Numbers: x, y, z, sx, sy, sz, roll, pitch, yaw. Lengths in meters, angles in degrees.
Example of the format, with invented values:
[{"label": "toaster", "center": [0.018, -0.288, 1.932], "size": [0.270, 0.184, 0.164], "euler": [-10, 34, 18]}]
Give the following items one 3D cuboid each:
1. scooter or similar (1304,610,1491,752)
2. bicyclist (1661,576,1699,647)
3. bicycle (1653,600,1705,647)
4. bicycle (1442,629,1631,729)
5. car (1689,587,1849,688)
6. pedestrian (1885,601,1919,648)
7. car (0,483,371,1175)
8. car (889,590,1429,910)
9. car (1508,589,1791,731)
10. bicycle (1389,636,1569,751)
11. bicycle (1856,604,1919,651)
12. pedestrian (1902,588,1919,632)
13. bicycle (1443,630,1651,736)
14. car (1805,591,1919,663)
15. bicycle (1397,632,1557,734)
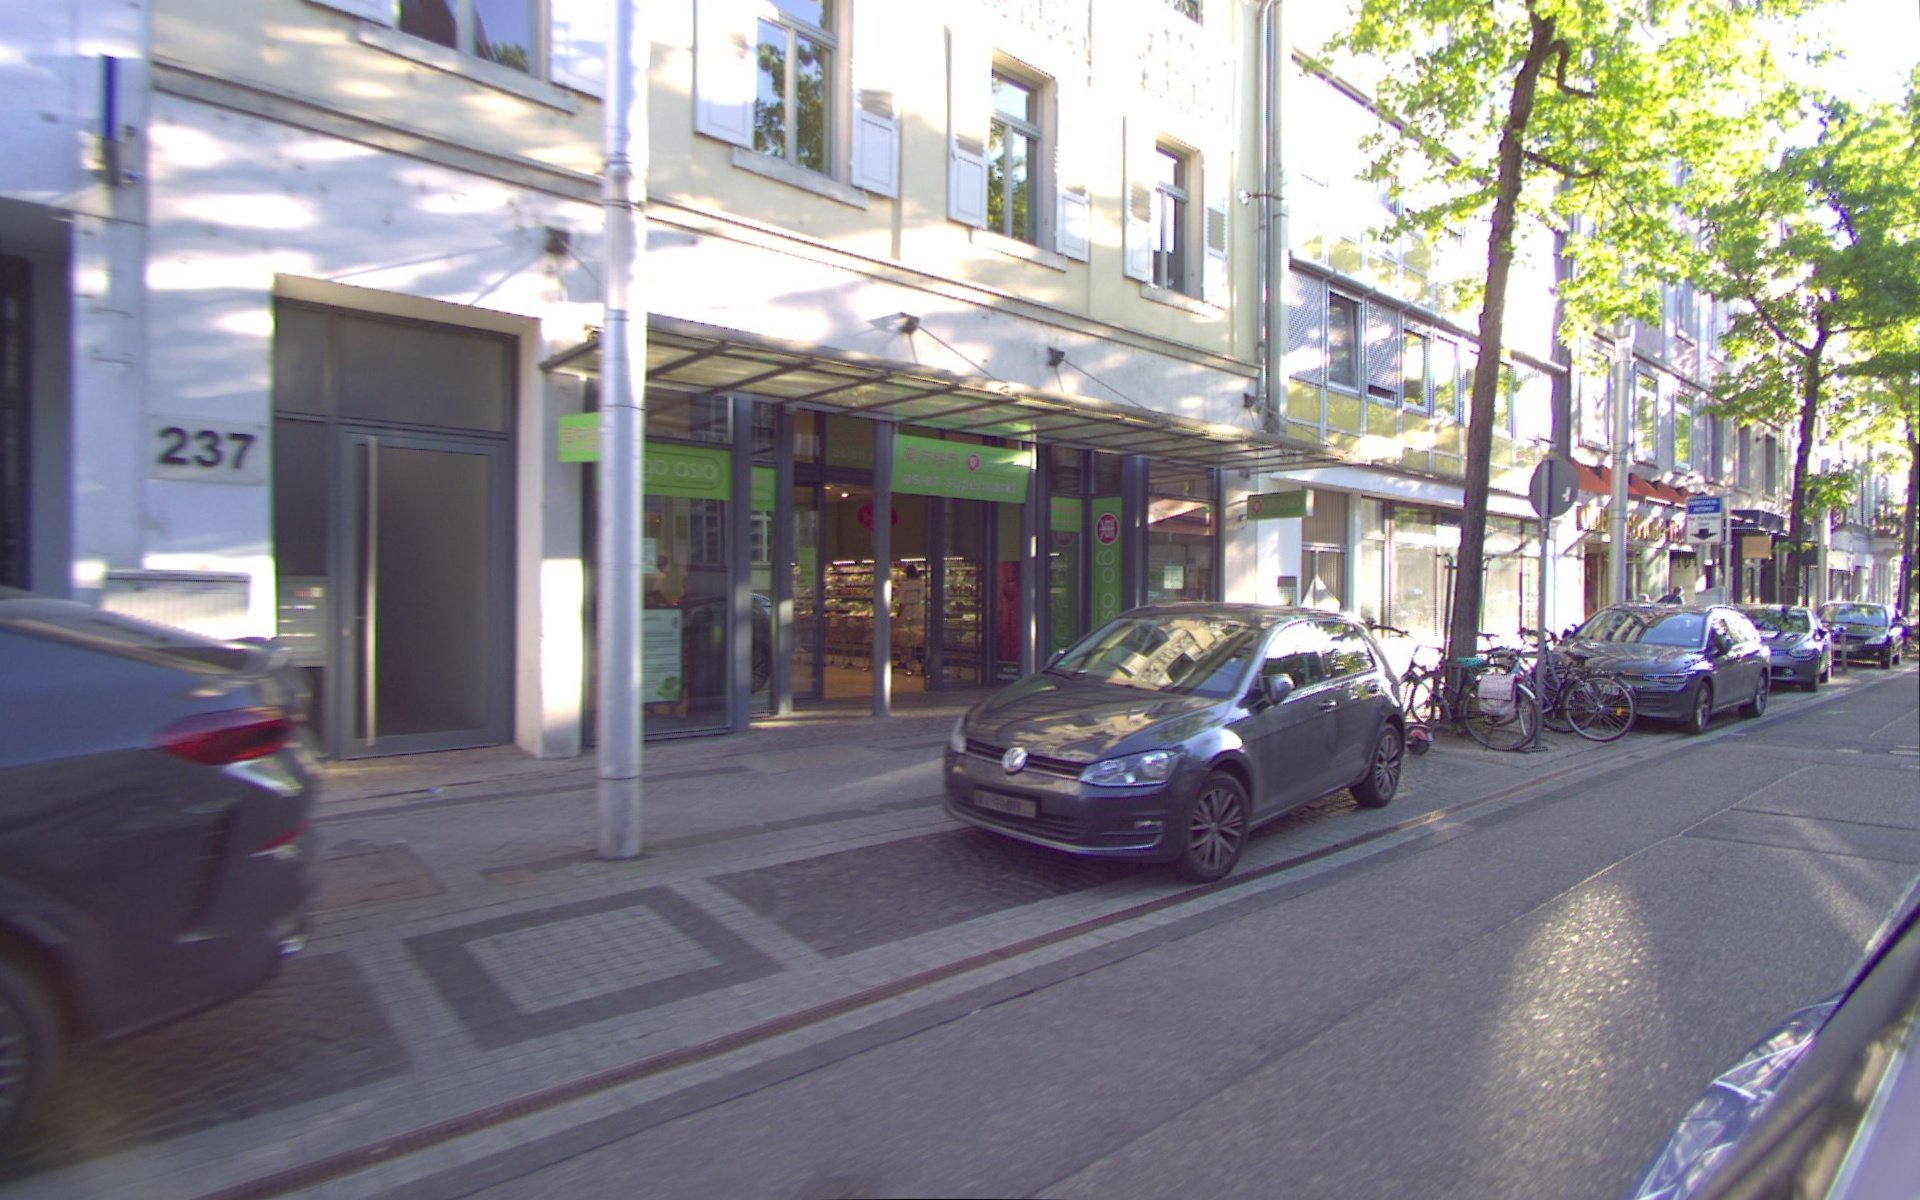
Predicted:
[{"label": "scooter or similar", "center": [4.182, 0.726, 9.774], "size": [0.662, 1.211, 1.543], "euler": [0, 1, -36]}, {"label": "bicyclist", "center": [17.656, 0.278, 24.813], "size": [0.589, 1.705, 0.640], "euler": [0, 1, -42]}, {"label": "bicycle", "center": [17.681, 0.551, 24.862], "size": [1.829, 1.087, 0.648], "euler": [0, 1, -42]}, {"label": "bicycle", "center": [6.463, 0.850, 11.458], "size": [0.326, 0.976, 1.903], "euler": [0, 1, -35]}, {"label": "car", "center": [14.698, 0.582, 18.315], "size": [1.816, 1.504, 3.936], "euler": [6, 5, 44]}, {"label": "pedestrian", "center": [26.378, 0.663, 28.161], "size": [0.575, 1.281, 0.820], "euler": [0, 0, -35]}, {"label": "car", "center": [-4.237, 0.569, 2.266], "size": [4.781, 1.735, 1.997], "euler": [0, 1, -41]}, {"label": "car", "center": [1.581, 0.706, 6.960], "size": [1.837, 1.454, 3.938], "euler": [3, 3, 43]}, {"label": "car", "center": [8.960, 0.637, 13.053], "size": [4.031, 1.471, 1.876], "euler": [0, 3, -39]}, {"label": "bicycle", "center": [5.115, 0.886, 10.061], "size": [0.486, 0.976, 1.543], "euler": [0, 1, -36]}, {"label": "bicycle", "center": [25.122, 0.738, 27.017], "size": [0.535, 1.152, 1.736], "euler": [0, 2, -20]}, {"label": "pedestrian", "center": [37.322, 0.384, 39.422], "size": [0.742, 1.663, 0.804], "euler": [0, 1, -40]}, {"label": "bicycle", "center": [6.331, 0.858, 11.059], "size": [0.277, 0.976, 2.044], "euler": [0, 1, -35]}, {"label": "car", "center": [21.529, 0.570, 24.008], "size": [3.593, 1.476, 1.803], "euler": [-1, 3, -43]}, {"label": "bicycle", "center": [5.659, 0.876, 11.159], "size": [0.486, 0.976, 1.544], "euler": [0, 1, -33]}]
